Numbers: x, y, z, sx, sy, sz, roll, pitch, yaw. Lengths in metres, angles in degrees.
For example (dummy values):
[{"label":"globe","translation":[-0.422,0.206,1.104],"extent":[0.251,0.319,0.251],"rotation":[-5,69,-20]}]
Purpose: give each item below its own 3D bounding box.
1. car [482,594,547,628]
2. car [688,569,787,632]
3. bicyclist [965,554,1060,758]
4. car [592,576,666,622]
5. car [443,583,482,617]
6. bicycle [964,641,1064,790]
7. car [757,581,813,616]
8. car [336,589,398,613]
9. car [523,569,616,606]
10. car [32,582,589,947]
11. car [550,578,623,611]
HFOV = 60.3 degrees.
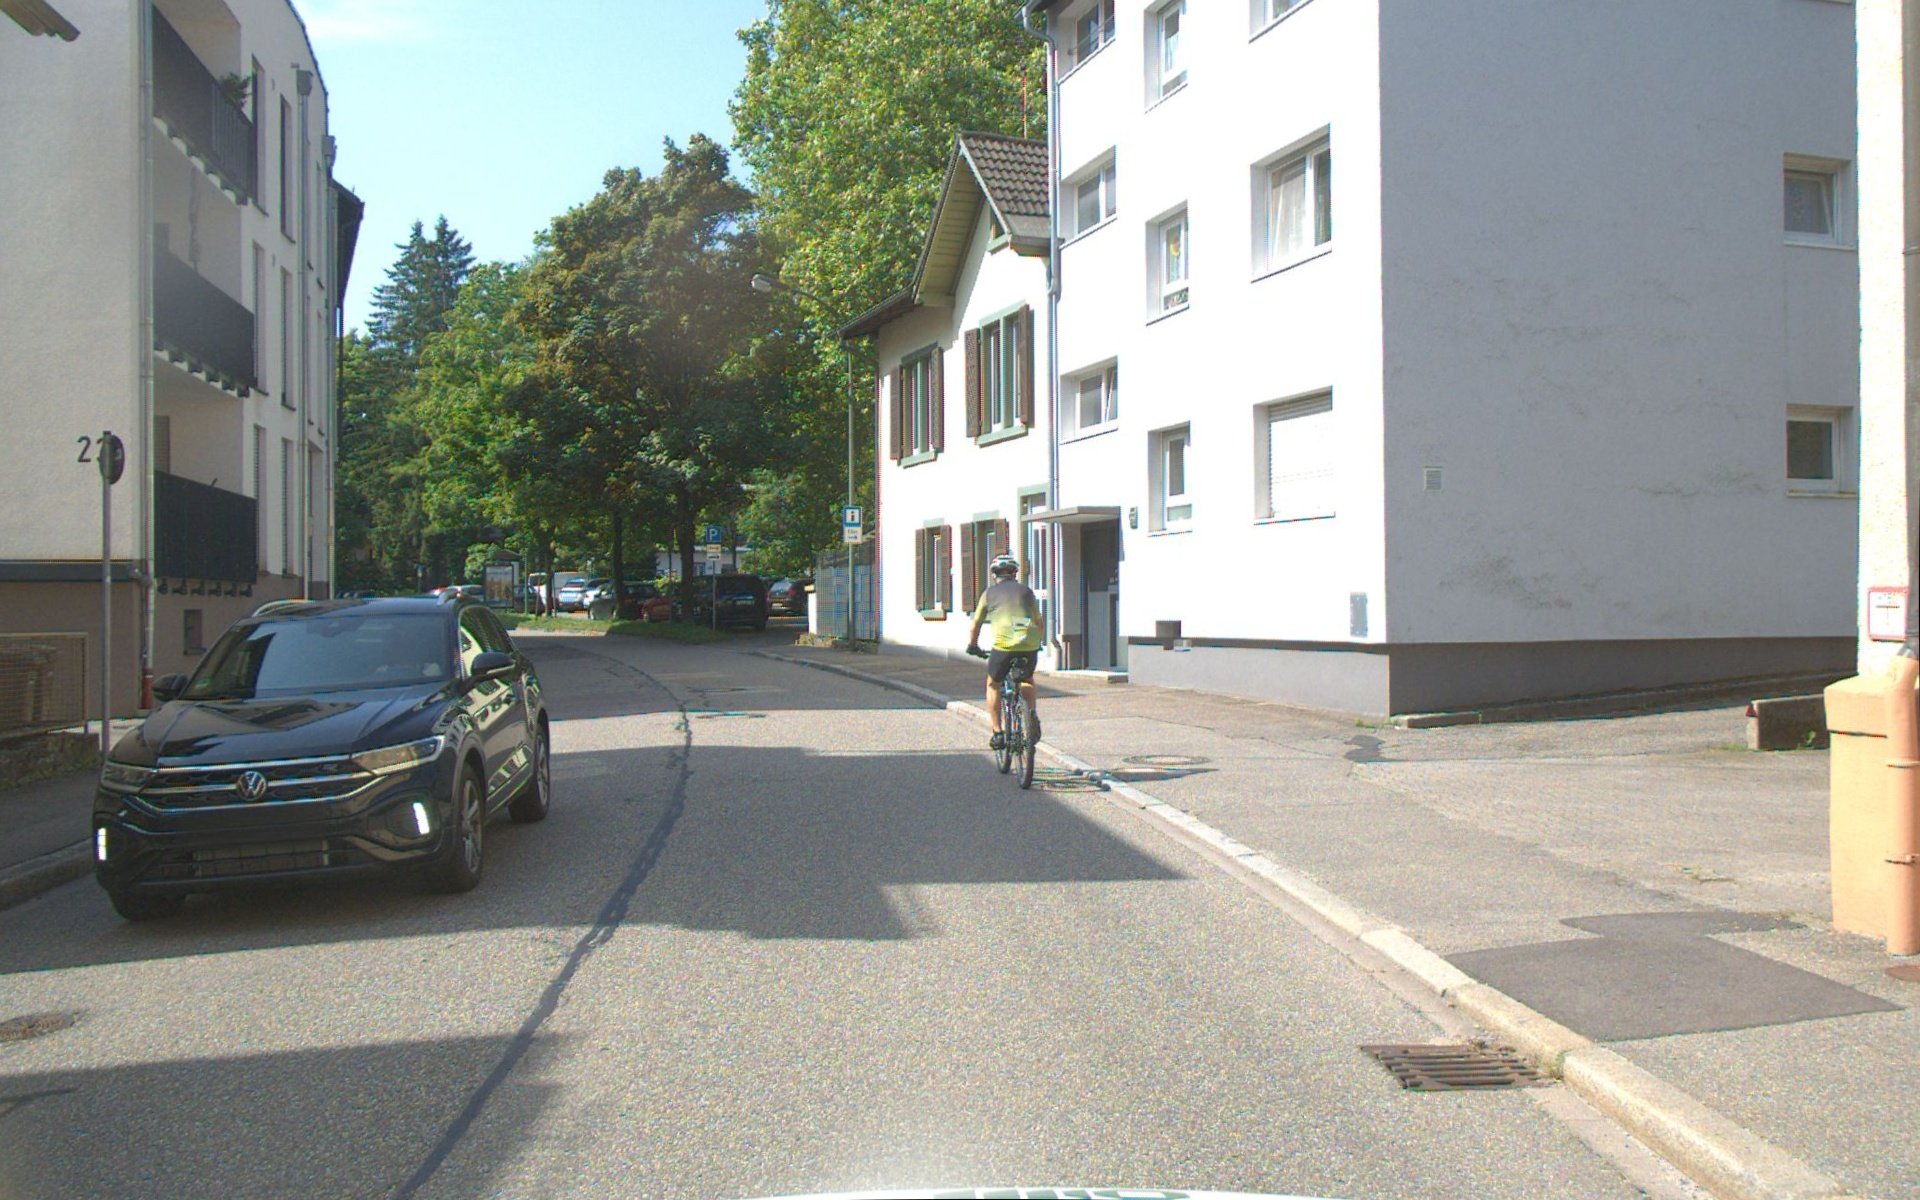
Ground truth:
[{"label":"car","translation":[-20.137,0.492,74.718],"extent":[1.662,1.493,3.362],"rotation":[0,0,-39]},{"label":"car","translation":[-6.955,-0.016,51.362],"extent":[1.802,1.822,3.964],"rotation":[-2,2,-28]},{"label":"bicyclist","translation":[0.408,0.434,13.119],"extent":[0.672,1.558,0.715],"rotation":[-1,-1,-3]},{"label":"car","translation":[-12.443,-0.067,61.998],"extent":[1.689,1.569,3.964],"rotation":[-2,2,-28]},{"label":"car","translation":[-23.789,0.003,78.987],"extent":[1.717,1.579,3.734],"rotation":[0,0,-18]},{"label":"bicycle","translation":[0.407,0.883,13.112],"extent":[0.684,1.053,1.470],"rotation":[1,0,-2]},{"label":"car","translation":[-6.873,-0.062,64.722],"extent":[1.556,1.279,3.842],"rotation":[-2,1,-15]},{"label":"car","translation":[-38.656,0.080,107.863],"extent":[3.343,1.555,1.958],"rotation":[0,0,18]},{"label":"car","translation":[-20.180,-0.635,85.573],"extent":[1.957,1.887,4.689],"rotation":[0,0,31]},{"label":"car","translation":[-3.445,0.737,9.655],"extent":[1.788,1.564,3.997],"rotation":[-3,1,-3]},{"label":"car","translation":[-18.438,-0.289,81.828],"extent":[1.771,1.579,4.002],"rotation":[0,0,17]}]
